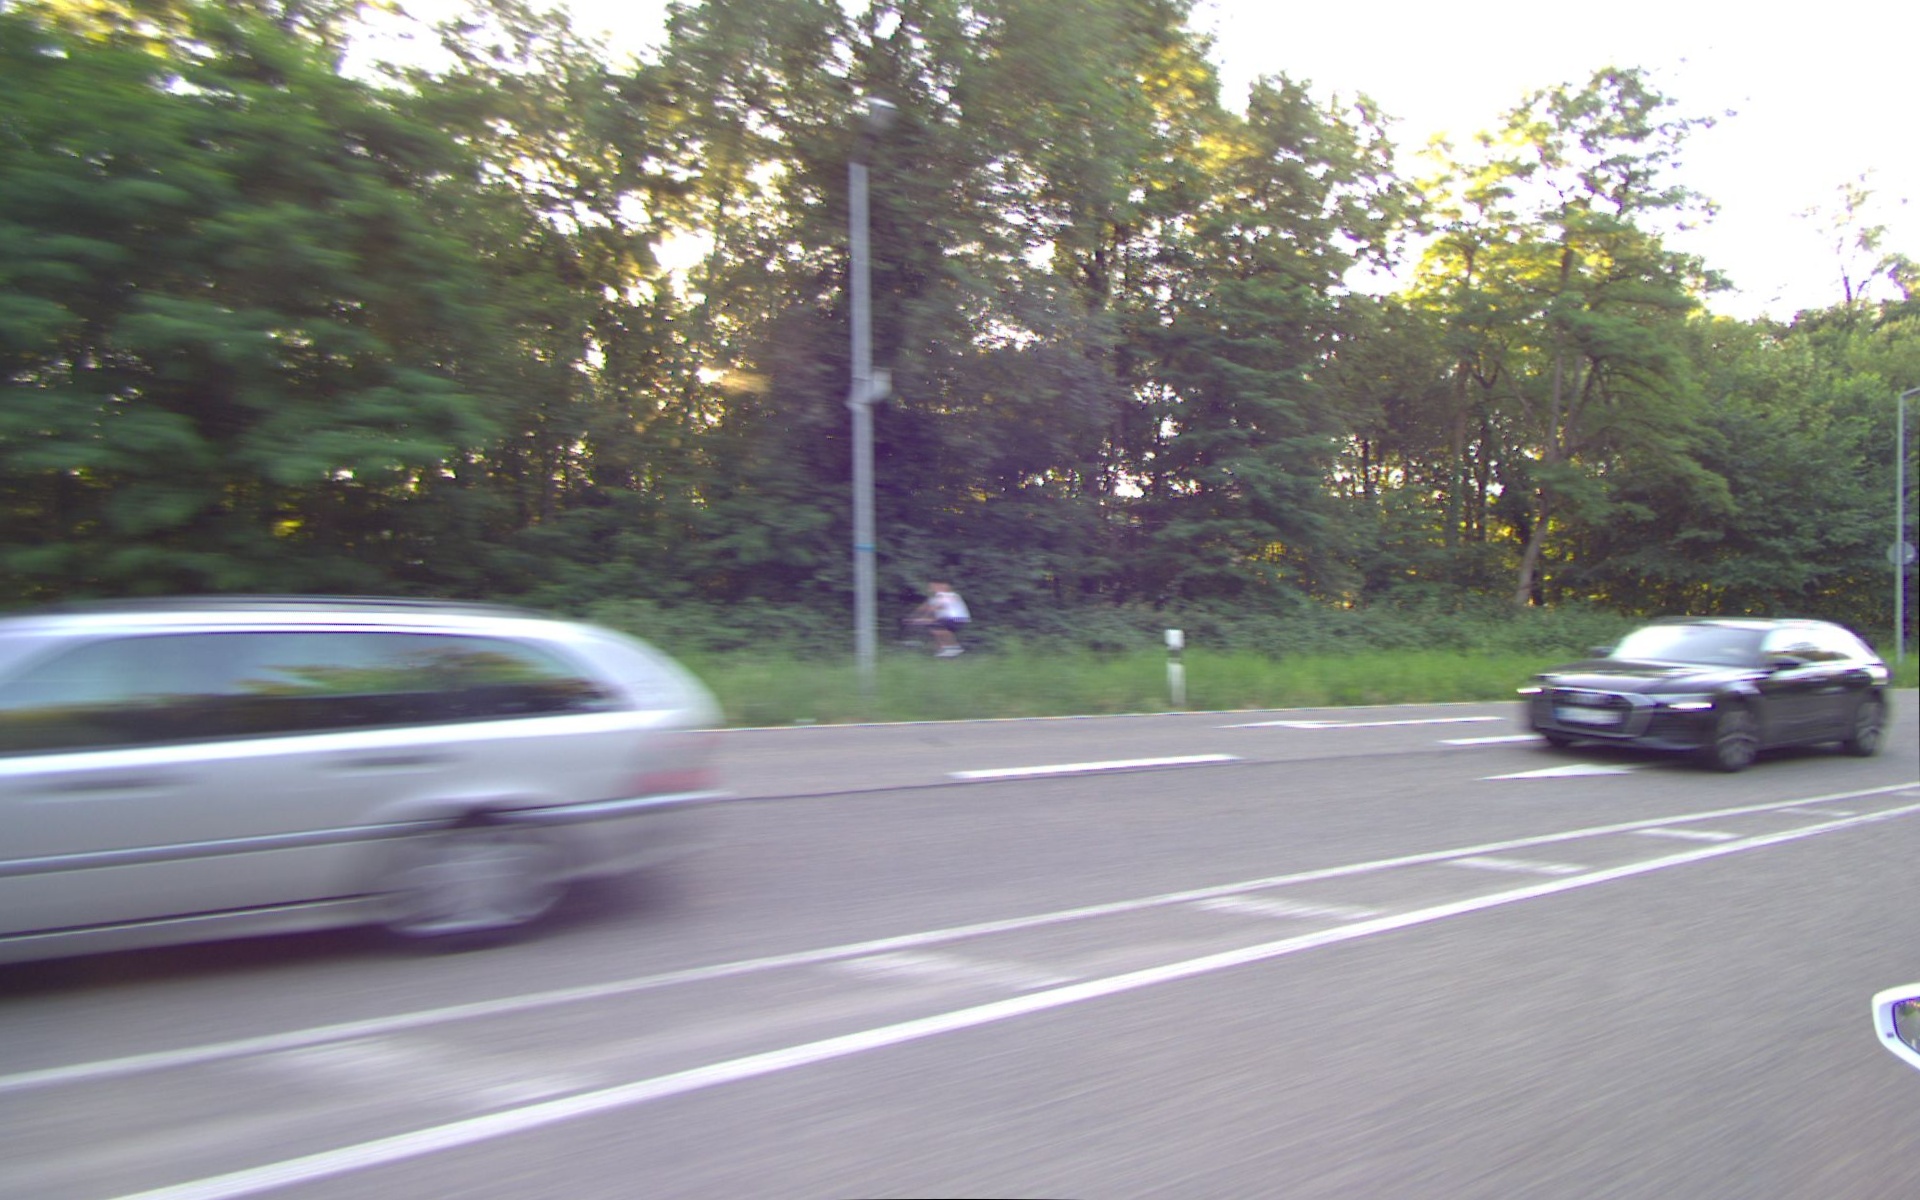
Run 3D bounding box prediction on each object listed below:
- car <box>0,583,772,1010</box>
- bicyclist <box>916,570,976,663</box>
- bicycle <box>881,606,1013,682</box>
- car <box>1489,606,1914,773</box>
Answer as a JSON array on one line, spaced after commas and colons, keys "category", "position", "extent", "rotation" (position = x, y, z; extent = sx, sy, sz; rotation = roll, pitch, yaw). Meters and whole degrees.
[{"category": "car", "position": [-3.160, 0.654, 4.316], "extent": [4.321, 1.416, 1.713], "rotation": [1, 0, -29]}, {"category": "bicyclist", "position": [-0.241, 0.271, 17.054], "extent": [0.837, 1.531, 0.617], "rotation": [0, 0, -29]}, {"category": "bicycle", "position": [-0.203, 0.726, 17.076], "extent": [2.234, 1.234, 0.627], "rotation": [1, -1, -29]}, {"category": "car", "position": [8.224, 0.867, 11.064], "extent": [4.709, 1.460, 1.884], "rotation": [1, 1, -28]}]
